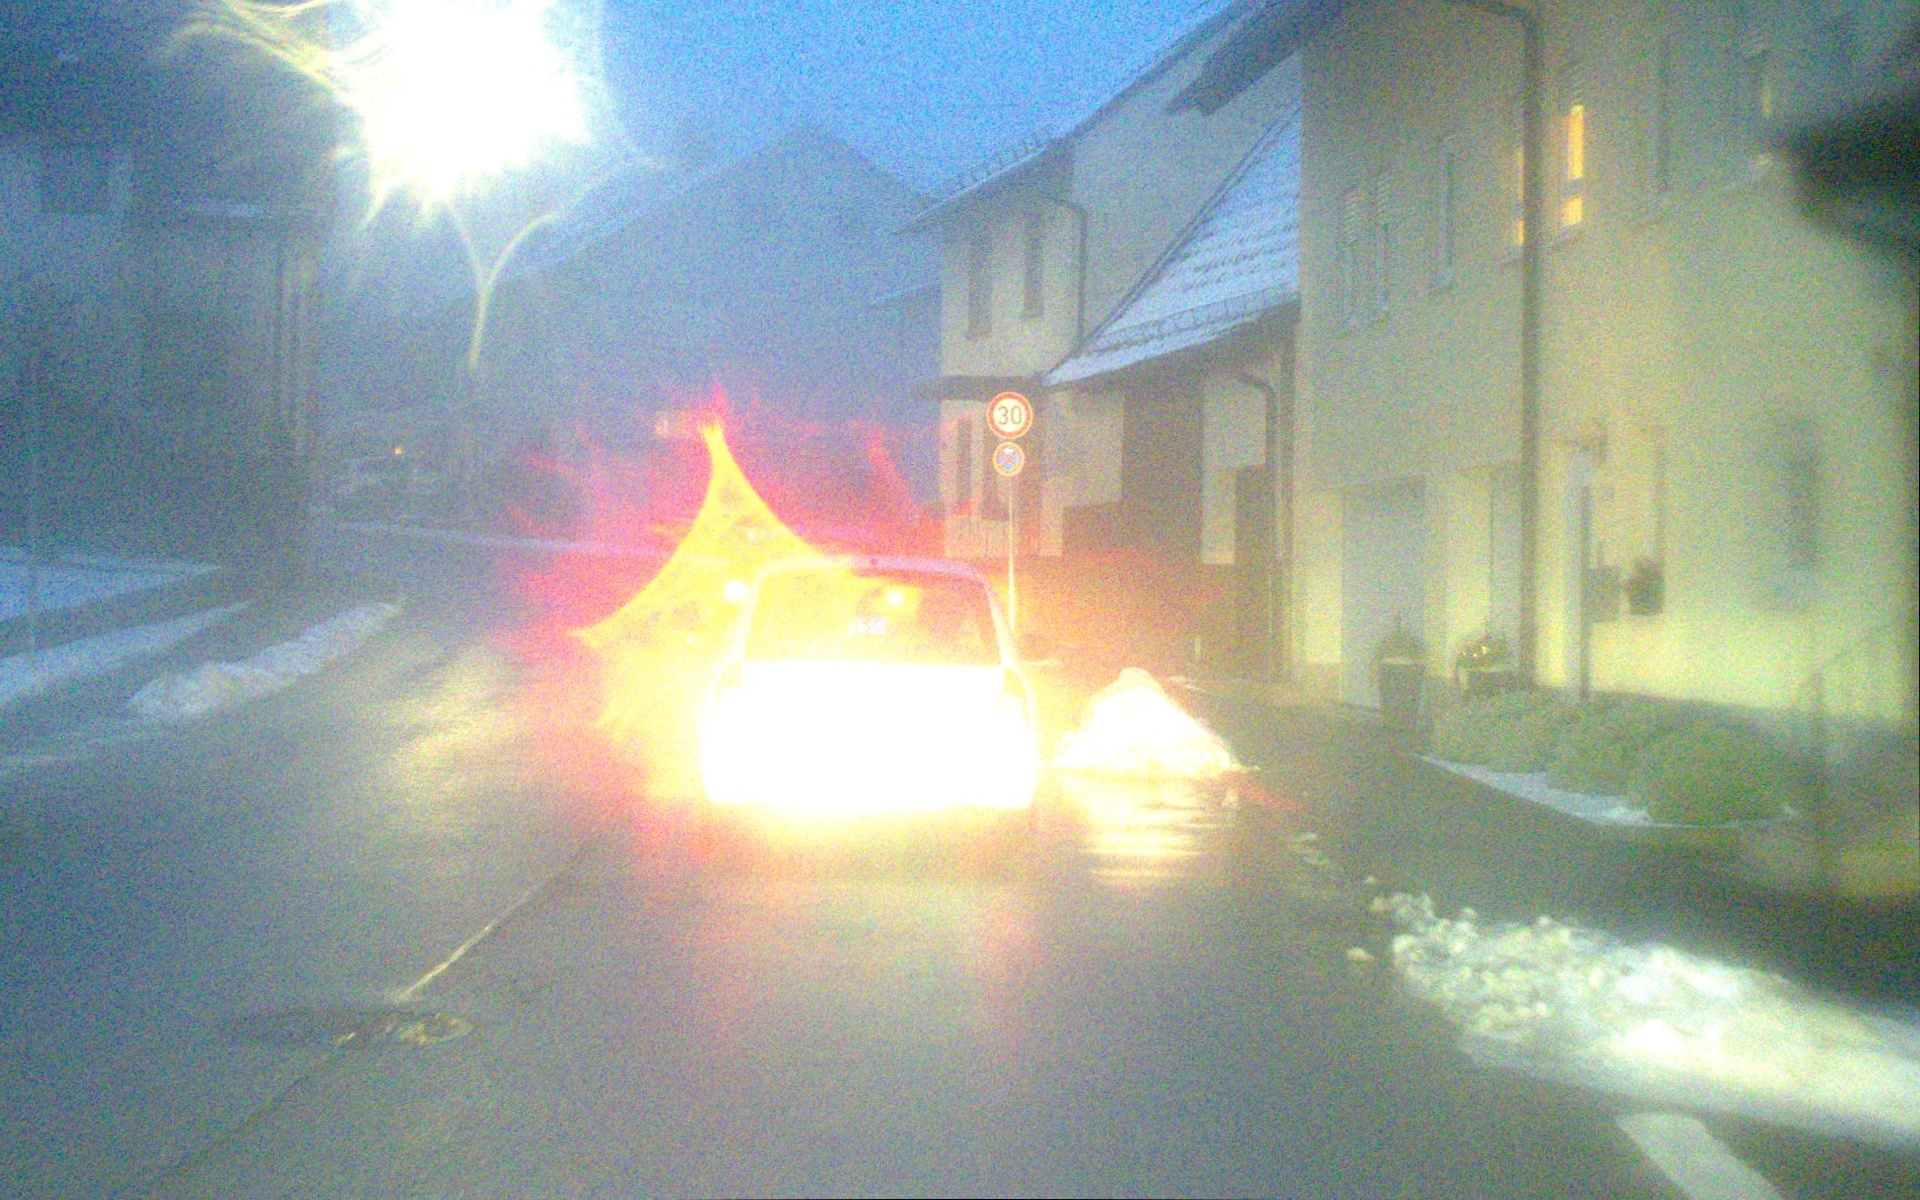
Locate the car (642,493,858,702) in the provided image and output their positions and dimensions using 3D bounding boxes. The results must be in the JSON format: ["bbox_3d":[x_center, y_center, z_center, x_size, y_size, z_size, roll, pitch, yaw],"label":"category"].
[{"bbox_3d":[-1.827,-0.030,29.087,1.645,1.590,3.700,2,0,-5],"label":"car"}]

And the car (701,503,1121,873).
[{"bbox_3d":[-0.351,0.384,17.174,1.645,1.590,3.700,2,0,-7],"label":"car"}]
